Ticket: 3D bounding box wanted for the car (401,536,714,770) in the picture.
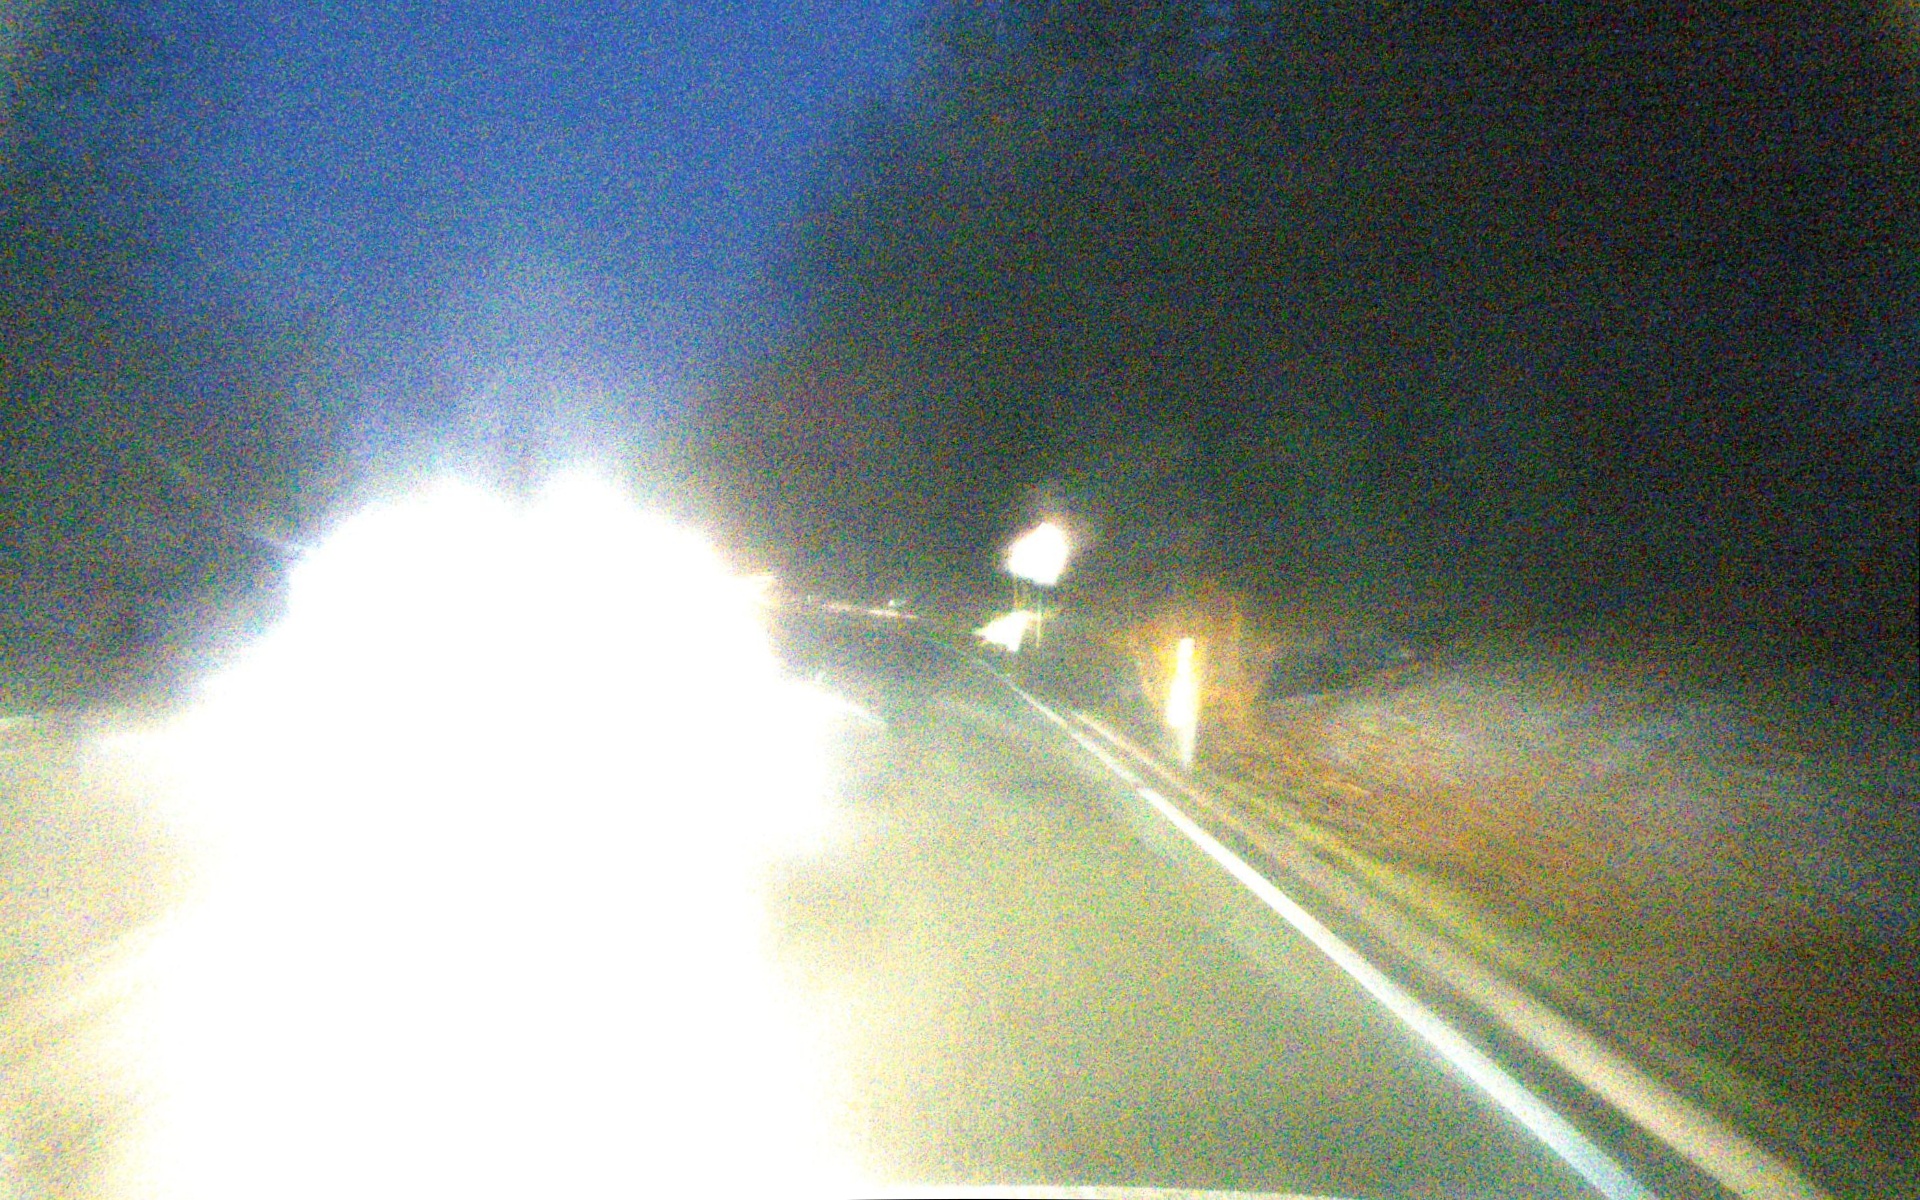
[{"bbox_3d":[-3.448,0.424,15.020,1.954,1.780,4.255,1,0,-3],"label":"car"}]
